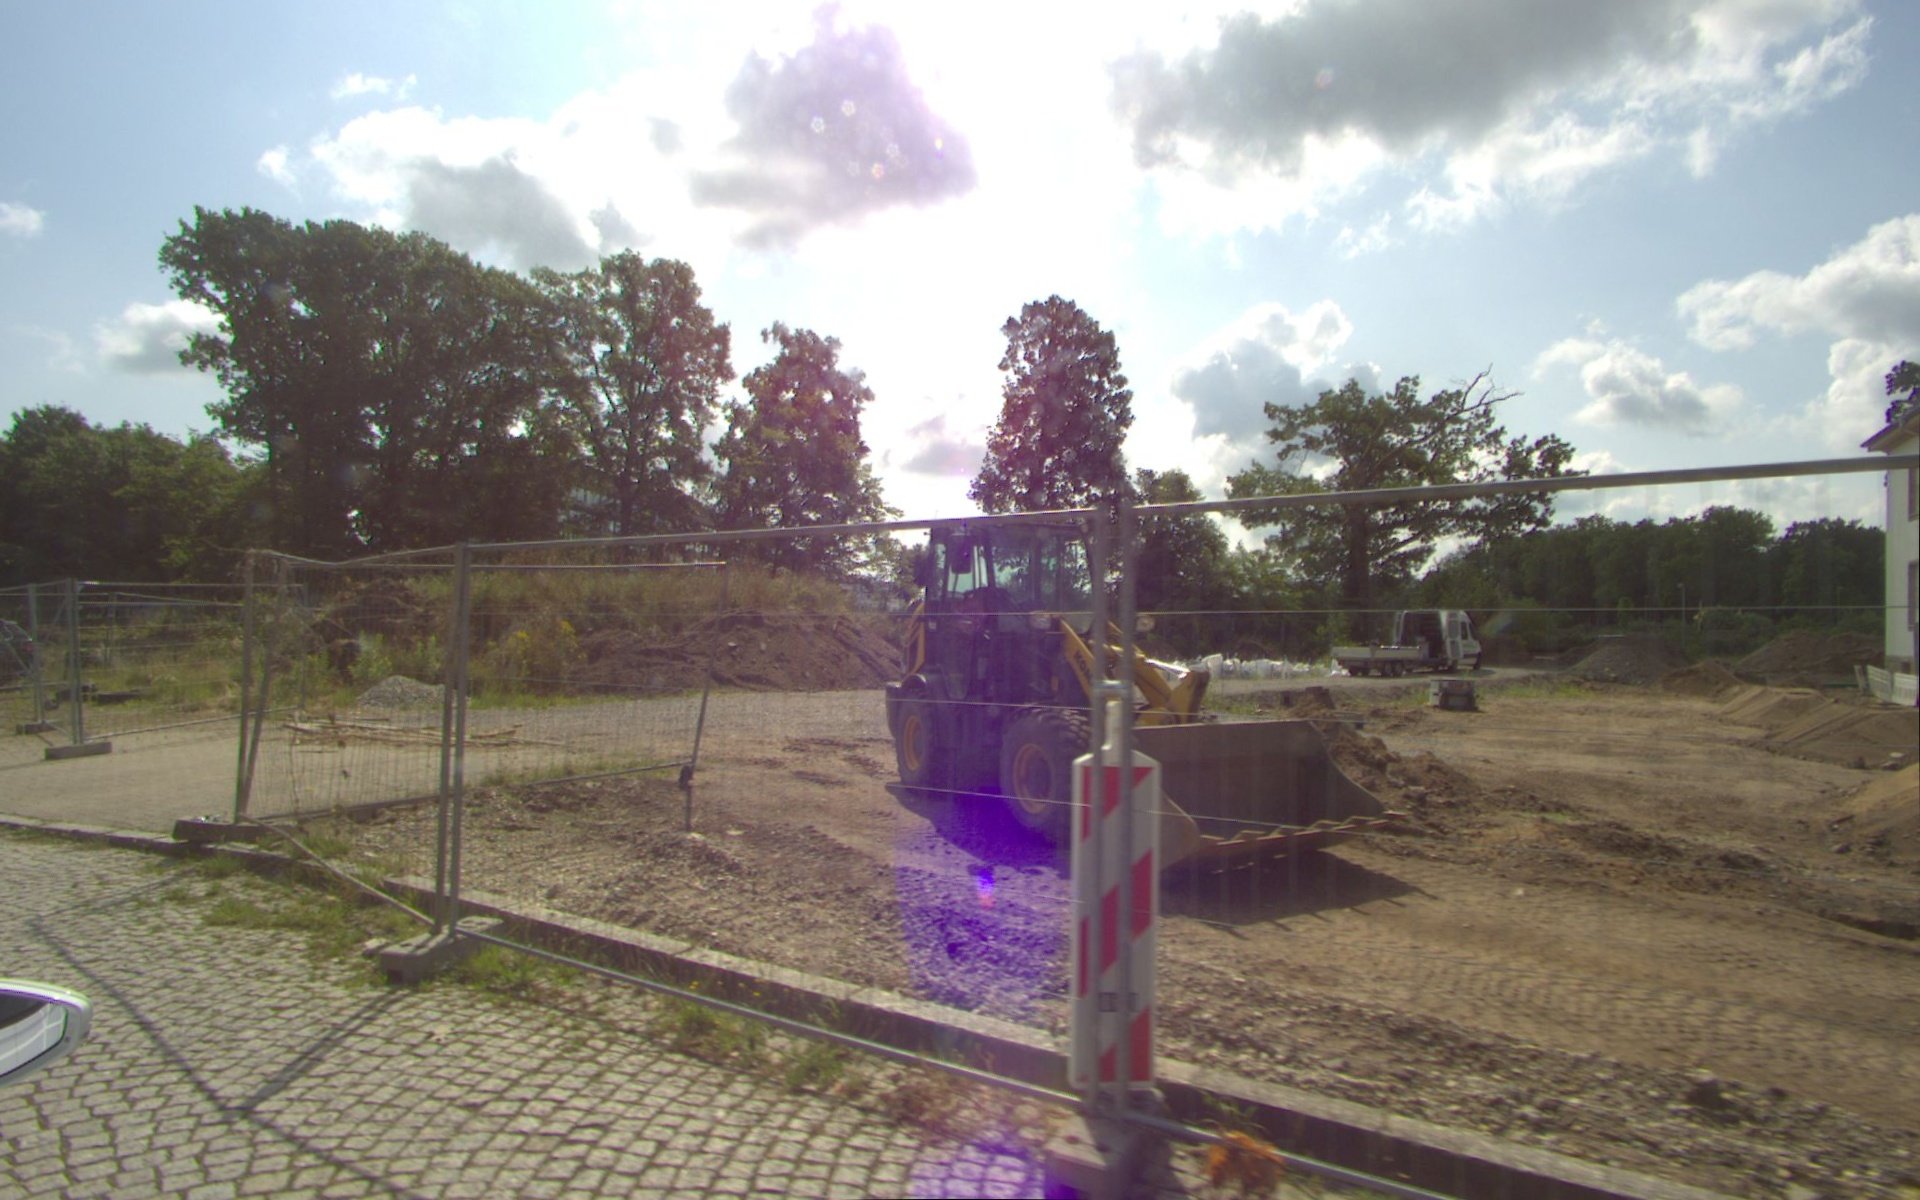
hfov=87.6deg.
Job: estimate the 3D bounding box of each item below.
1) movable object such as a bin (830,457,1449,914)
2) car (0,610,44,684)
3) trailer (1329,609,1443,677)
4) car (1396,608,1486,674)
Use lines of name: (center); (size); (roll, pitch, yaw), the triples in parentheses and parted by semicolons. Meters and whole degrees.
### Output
movable object such as a bin: (0.943, 0.499, 8.592); (2.119, 2.555, 5.627); (1, 0, -29)
car: (-20.953, 0.941, 19.373); (1.718, 1.494, 4.451); (0, 0, 28)
trailer: (16.701, 1.672, 39.178); (4.786, 2.504, 1.947); (2, -1, -36)
car: (20.555, 1.724, 42.663); (2.220, 2.624, 5.398); (0, -1, 40)
